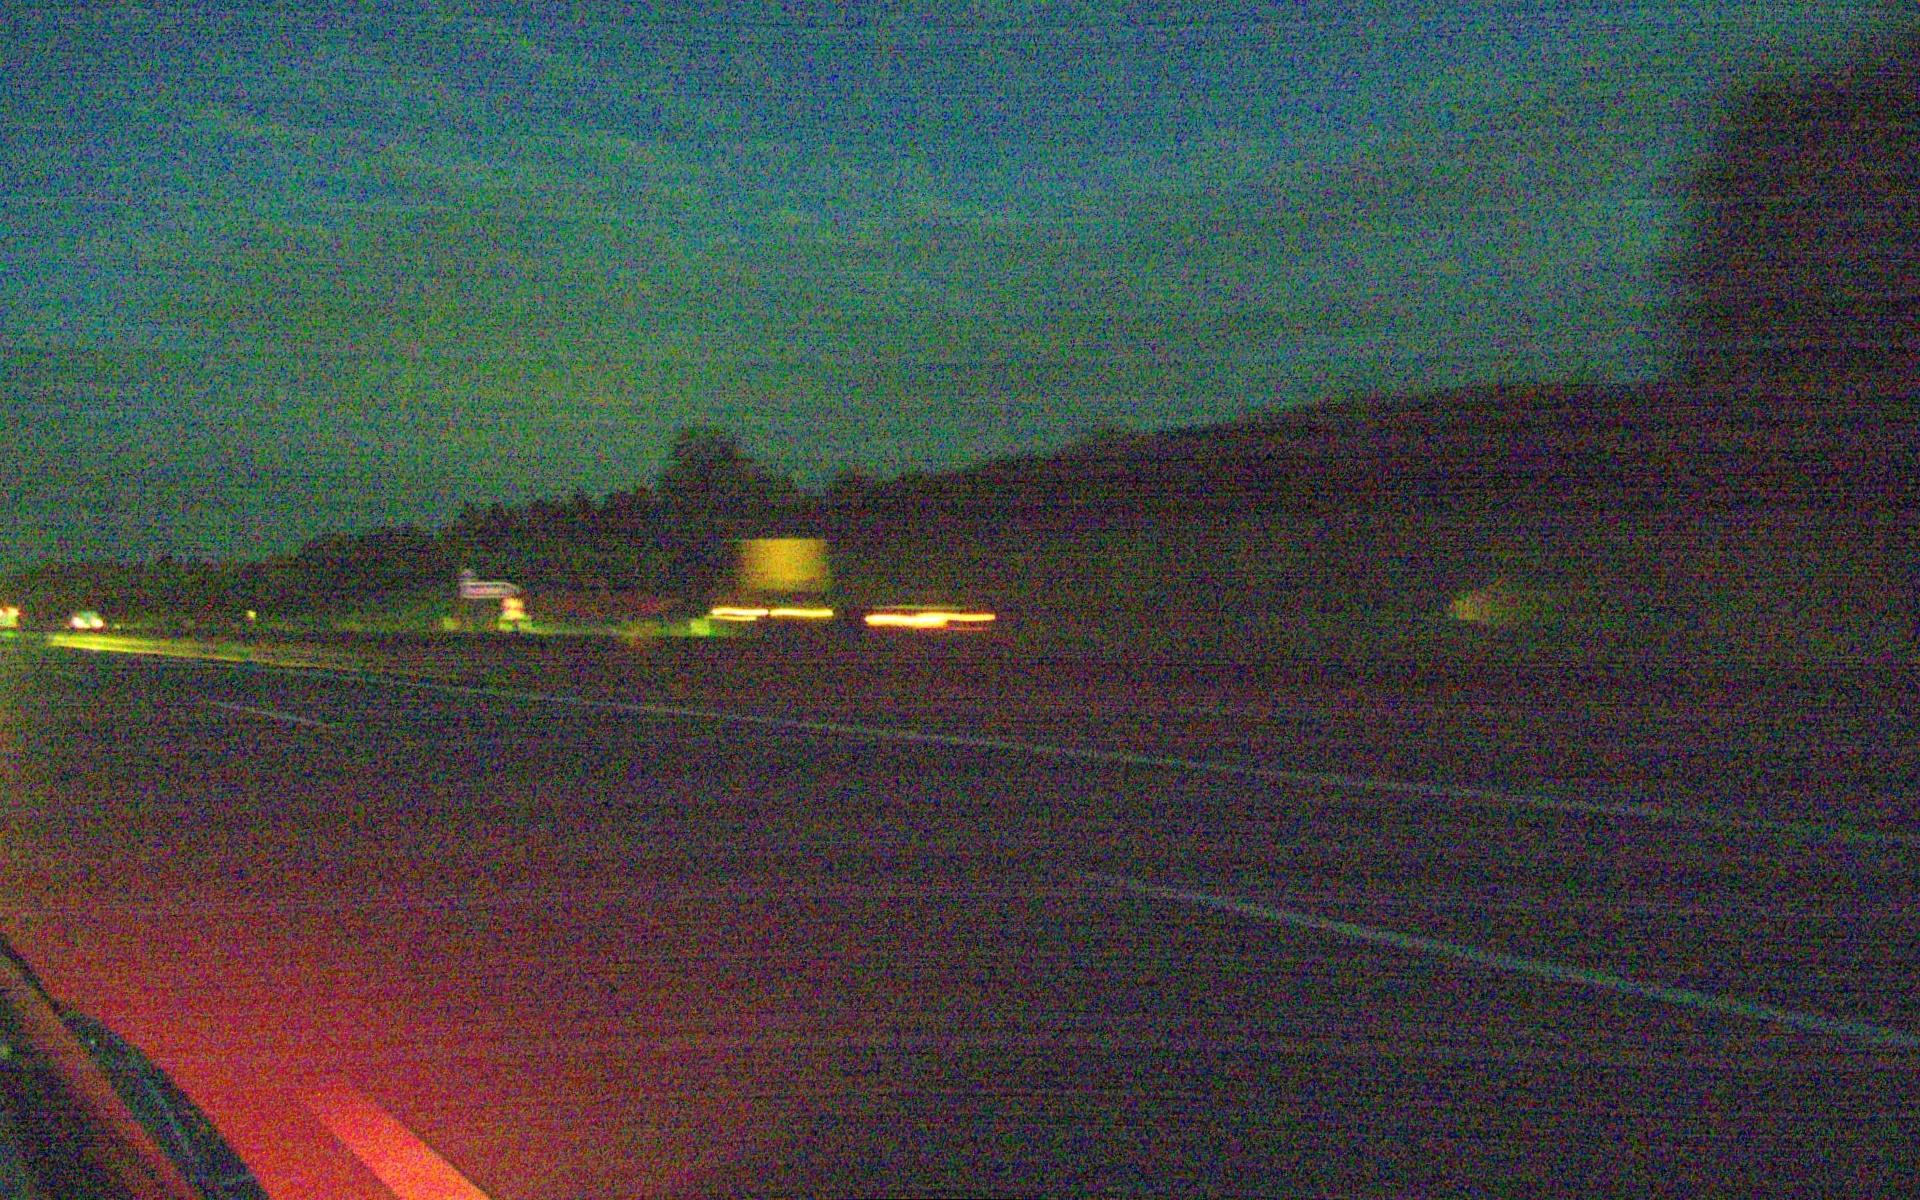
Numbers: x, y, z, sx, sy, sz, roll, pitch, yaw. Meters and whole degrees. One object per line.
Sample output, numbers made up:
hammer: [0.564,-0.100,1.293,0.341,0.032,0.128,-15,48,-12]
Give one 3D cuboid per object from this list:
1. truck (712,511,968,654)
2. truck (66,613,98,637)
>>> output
truck: [-3.986,-0.405,31.296,9.062,3.881,2.492,-1,0,42]
truck: [-112.533,3.199,129.676,7.622,2.746,2.174,-2,2,42]
